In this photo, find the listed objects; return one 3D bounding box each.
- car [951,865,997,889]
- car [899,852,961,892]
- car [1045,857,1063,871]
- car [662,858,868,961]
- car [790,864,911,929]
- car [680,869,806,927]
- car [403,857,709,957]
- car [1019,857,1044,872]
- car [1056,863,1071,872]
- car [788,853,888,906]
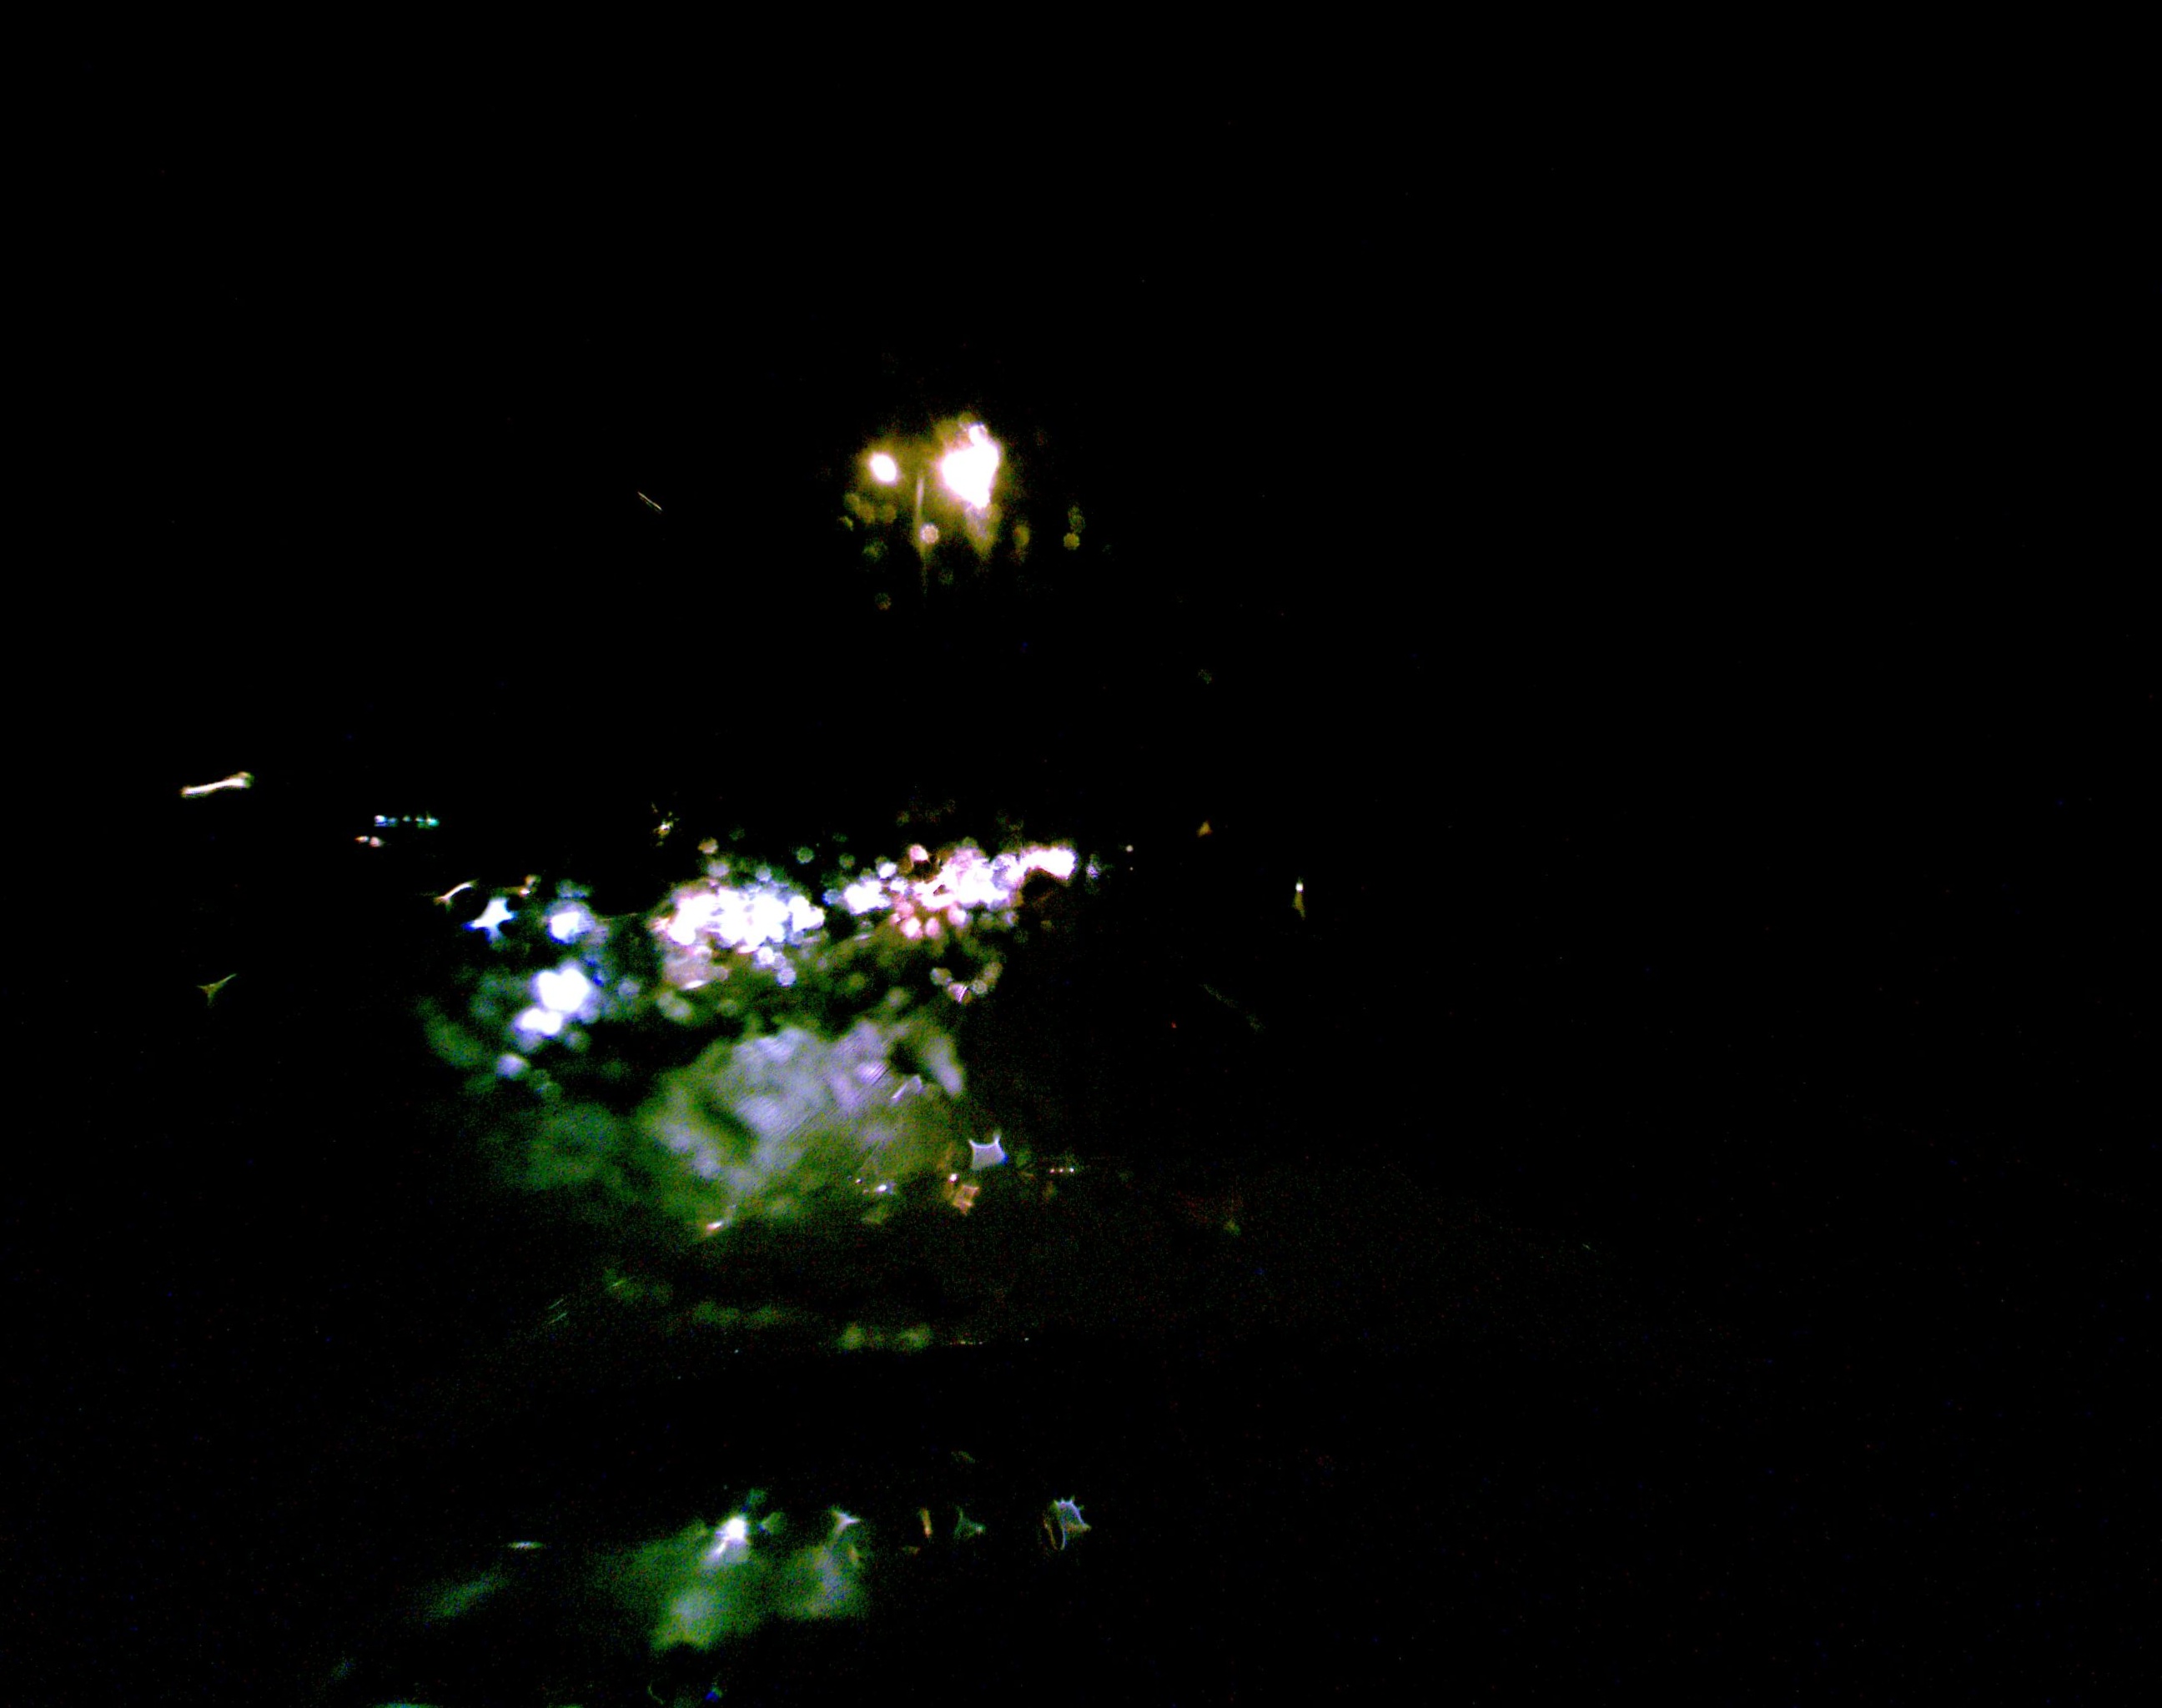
[{"bbox_3d":[-7.411,1.568,56.921,2.171,1.558,5.210,-1,0,4],"label":"car"},{"bbox_3d":[-8.071,0.929,44.069,2.145,2.014,4.999,-1,0,3],"label":"car"},{"bbox_3d":[-3.853,1.439,116.238,1.984,1.865,5.326,-1,0,4],"label":"car"},{"bbox_3d":[-5.895,0.972,16.016,1.986,1.698,5.013,0,-1,1],"label":"car"},{"bbox_3d":[-6.098,1.089,22.130,1.950,1.571,4.467,0,-1,1],"label":"car"},{"bbox_3d":[-9.141,1.139,22.382,1.815,1.452,3.603,0,-1,2],"label":"car"},{"bbox_3d":[-9.466,0.846,15.424,2.350,1.556,5.160,0,0,1],"label":"car"},{"bbox_3d":[-5.467,1.135,90.969,2.074,1.542,4.904,-1,0,4],"label":"car"},{"bbox_3d":[-3.093,2.343,145.953,2.100,1.575,4.685,-1,0,5],"label":"car"},{"bbox_3d":[-8.634,0.854,29.352,1.985,1.746,4.503,-1,0,4],"label":"car"}]
